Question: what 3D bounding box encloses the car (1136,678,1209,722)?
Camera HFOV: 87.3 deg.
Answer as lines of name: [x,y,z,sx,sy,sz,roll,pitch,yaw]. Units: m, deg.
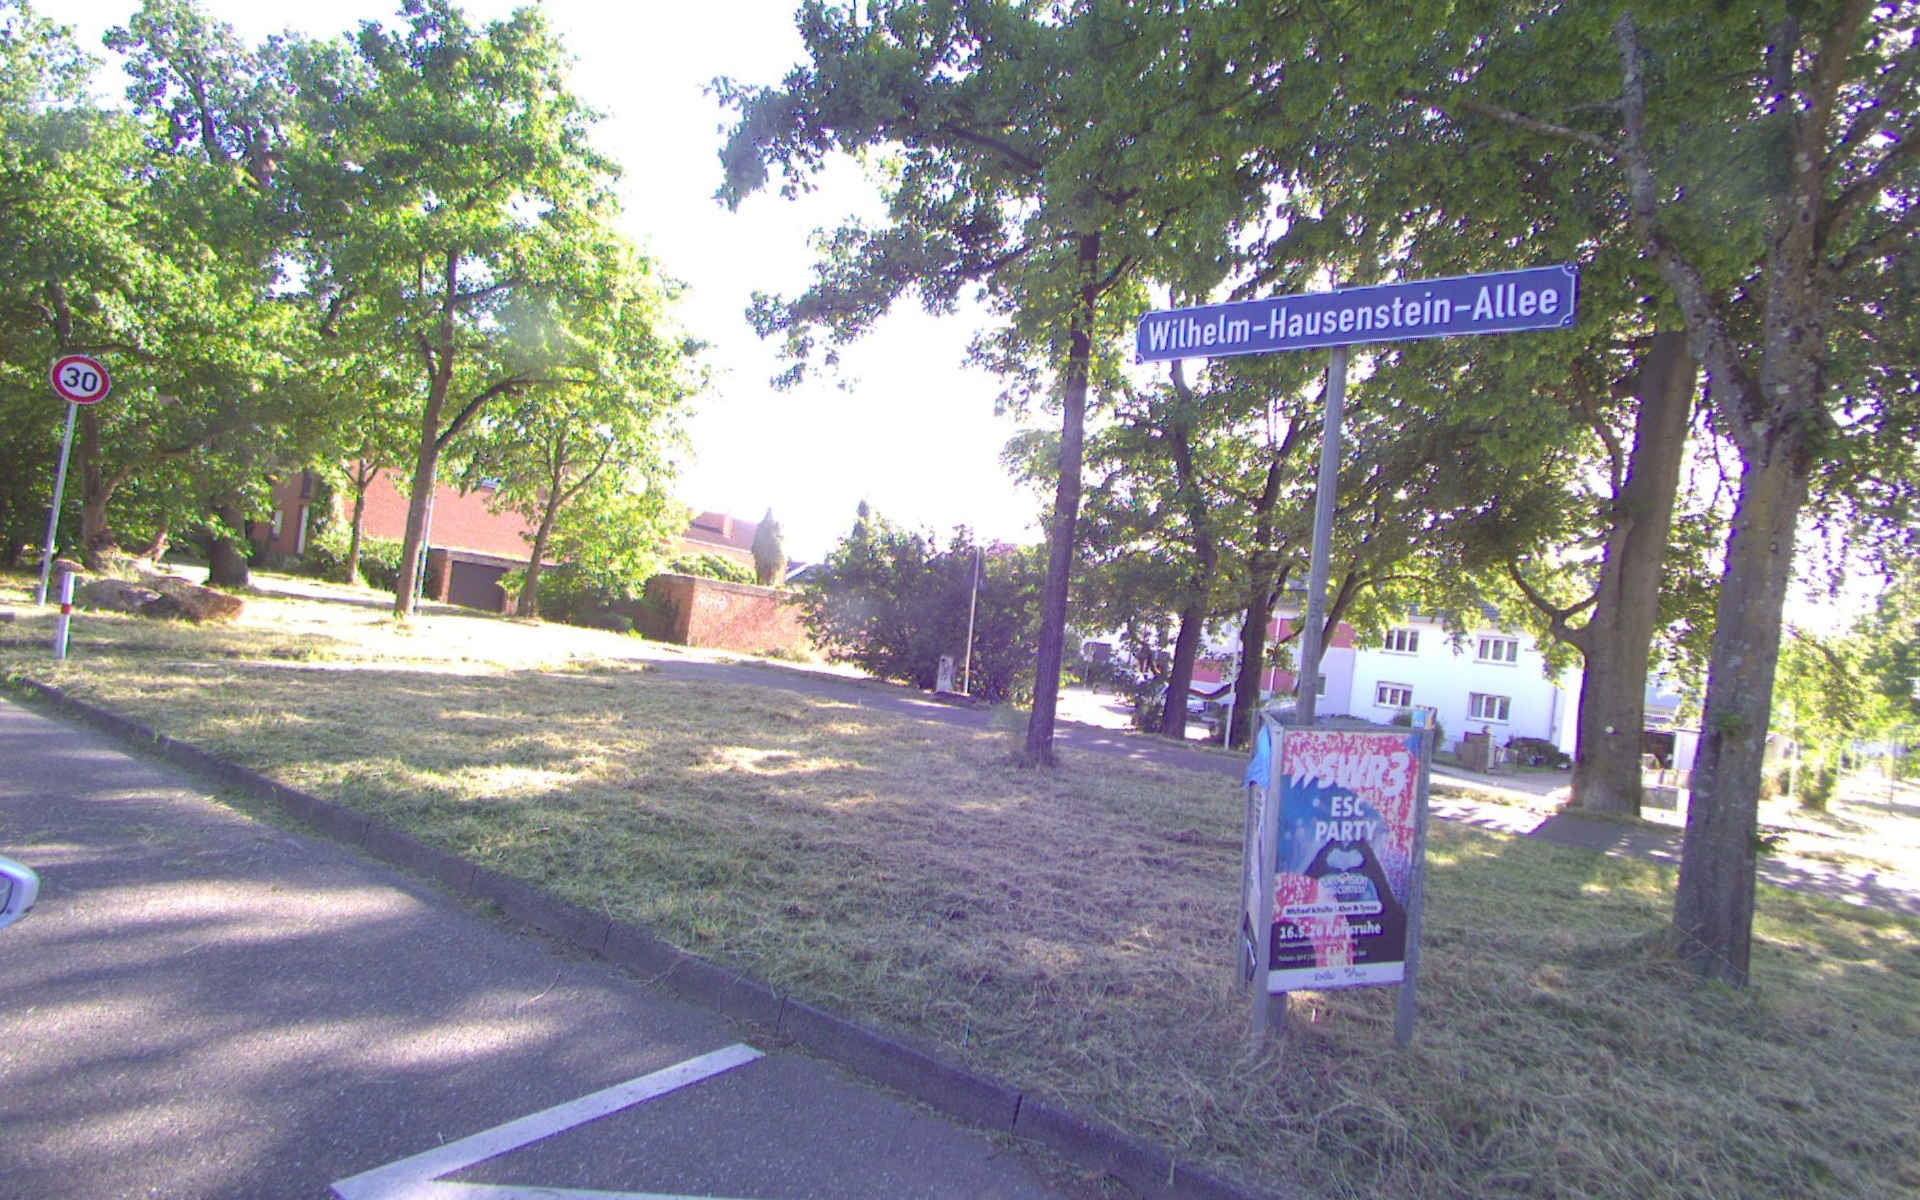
car: [10.091,4.745,47.961,1.514,1.569,3.160,9,-2,-30]
